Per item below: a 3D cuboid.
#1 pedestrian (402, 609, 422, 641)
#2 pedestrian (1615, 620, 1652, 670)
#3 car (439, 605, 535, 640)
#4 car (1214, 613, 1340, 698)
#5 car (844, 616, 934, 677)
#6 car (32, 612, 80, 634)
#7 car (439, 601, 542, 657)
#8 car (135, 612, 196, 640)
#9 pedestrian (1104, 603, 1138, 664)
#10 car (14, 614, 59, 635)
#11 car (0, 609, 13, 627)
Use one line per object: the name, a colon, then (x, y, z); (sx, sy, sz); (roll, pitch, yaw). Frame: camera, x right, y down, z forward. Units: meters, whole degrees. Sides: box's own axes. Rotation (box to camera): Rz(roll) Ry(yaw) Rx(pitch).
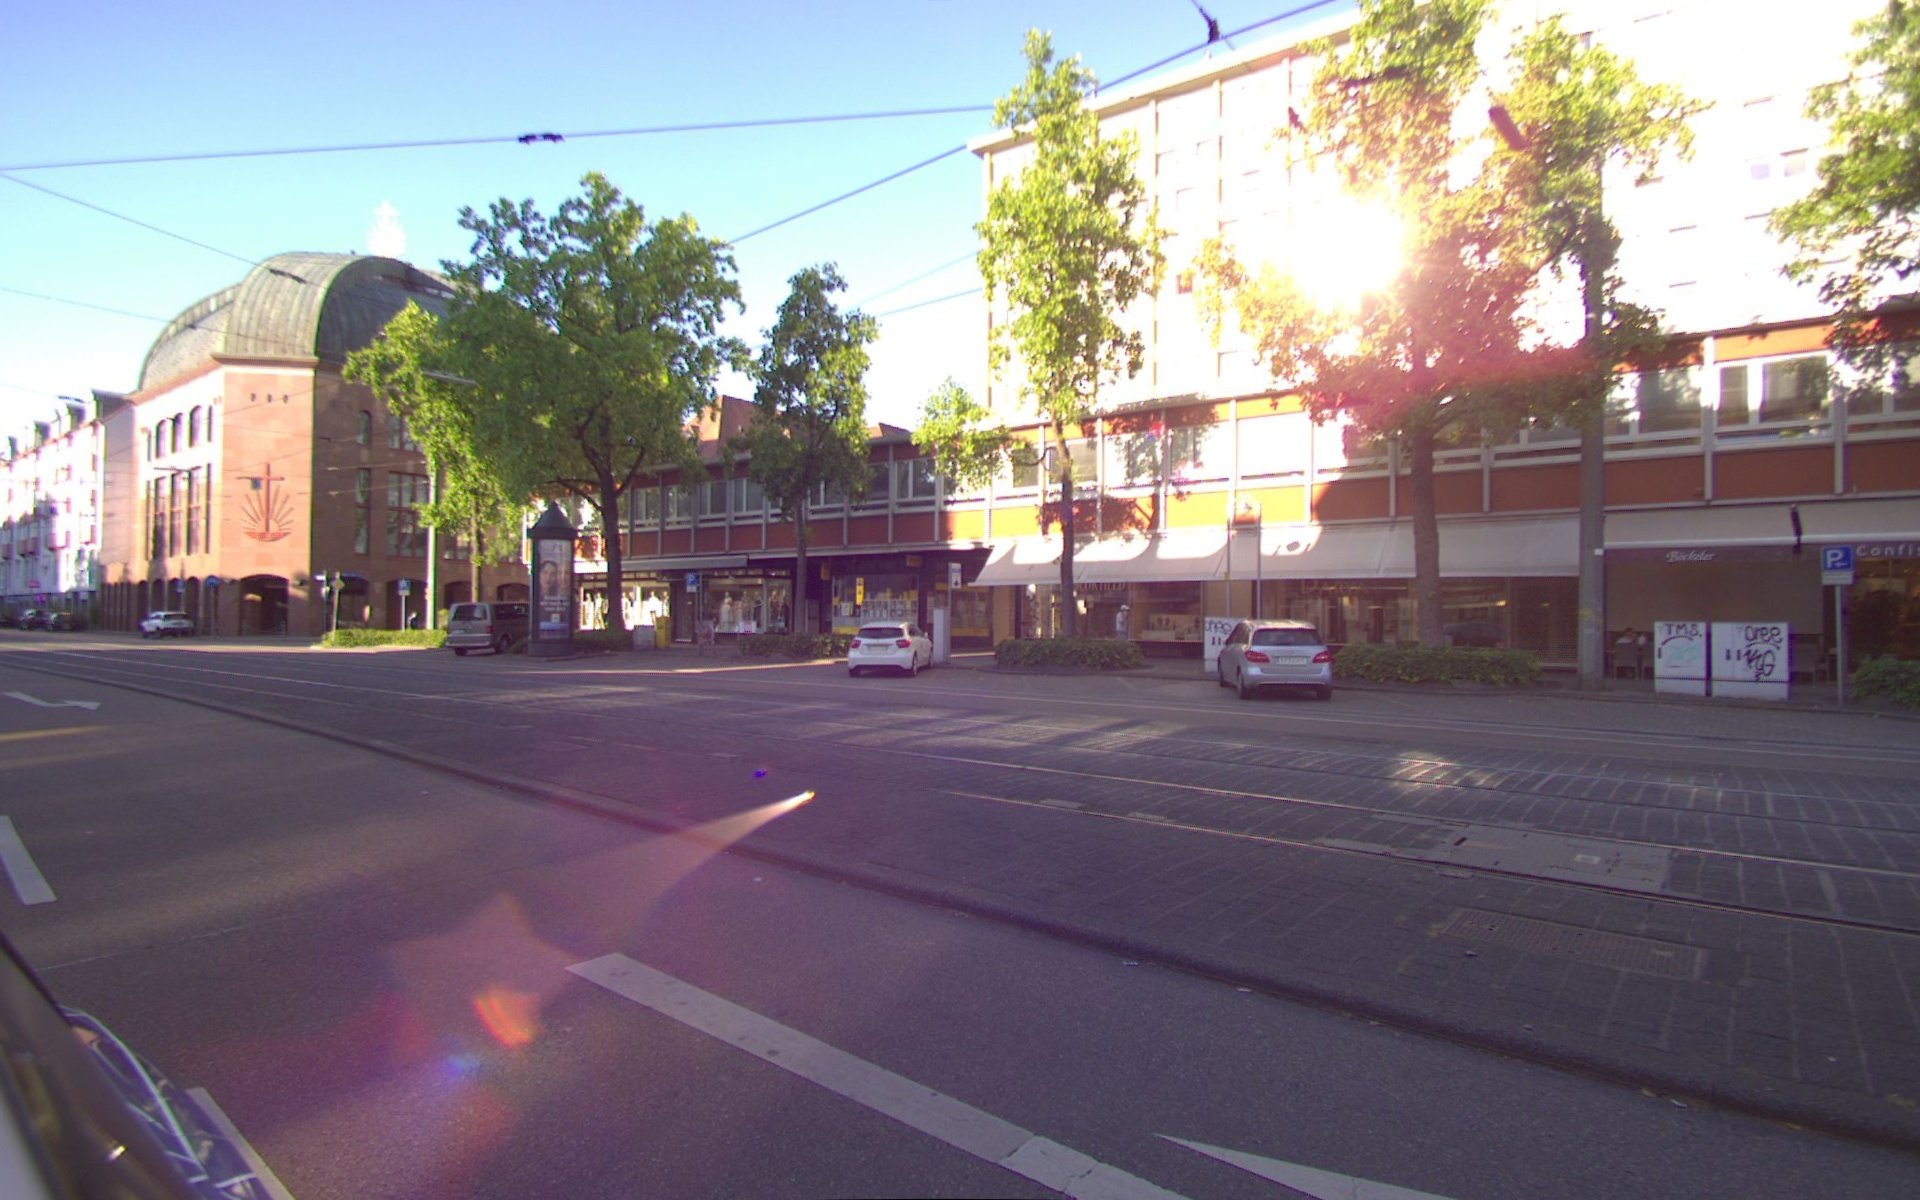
pedestrian: (-30.245, 1.393, 55.862); (0.548, 1.761, 0.780); (-1, -2, 41)
pedestrian: (16.306, 1.076, 24.486); (0.726, 1.181, 0.770); (-1, -2, 35)
car: (-28.546, 1.385, 61.275); (1.996, 2.029, 4.926); (-1, -2, 36)
car: (6.518, 1.076, 21.234); (1.776, 1.566, 3.992); (0, 0, 6)
car: (-1.859, 1.209, 27.711); (1.776, 1.486, 3.992); (0, 0, 6)
car: (-69.170, 1.745, 77.424); (3.992, 1.615, 1.942); (0, 0, 36)
car: (-17.632, 1.041, 38.193); (1.886, 1.979, 3.996); (0, 0, 3)
car: (-47.859, 1.529, 60.948); (3.992, 1.615, 1.888); (0, 0, 36)
pedestrian: (4.762, 0.979, 29.976); (0.626, 1.782, 0.770); (1, -1, -36)
car: (-74.310, 1.926, 81.444); (3.992, 1.615, 1.942); (0, 0, 36)
car: (-89.081, 1.678, 93.292); (3.992, 1.615, 1.942); (0, 0, 36)
